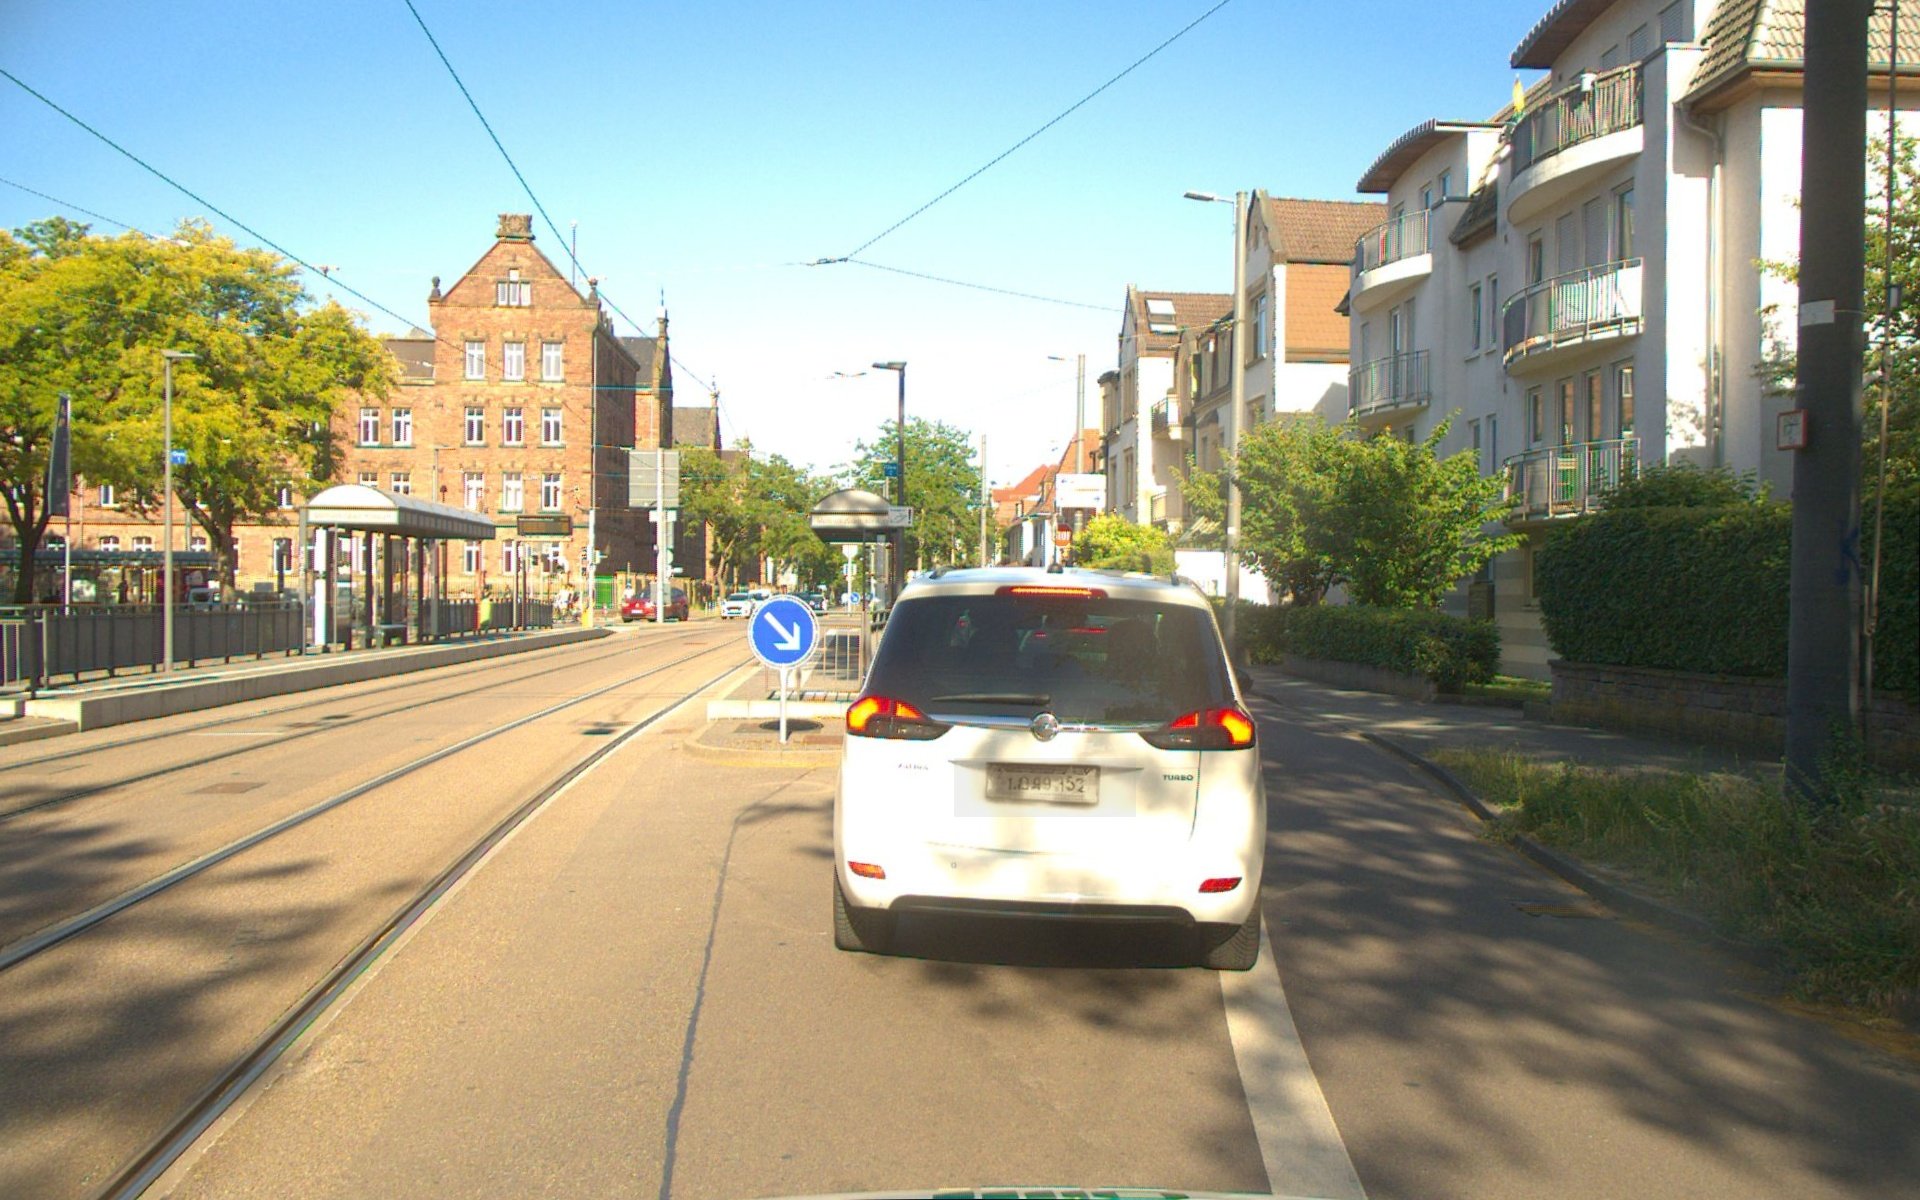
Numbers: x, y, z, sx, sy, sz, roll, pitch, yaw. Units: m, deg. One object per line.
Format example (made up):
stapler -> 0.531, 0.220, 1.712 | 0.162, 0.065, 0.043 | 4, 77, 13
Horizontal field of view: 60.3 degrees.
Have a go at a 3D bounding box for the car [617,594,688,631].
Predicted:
car -> -13.960, 0.549, 75.381 | 1.779, 1.635, 4.363 | 0, 0, 10

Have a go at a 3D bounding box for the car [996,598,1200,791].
car -> 1.227, 0.733, 14.792 | 1.536, 1.426, 3.786 | 2, 0, 5

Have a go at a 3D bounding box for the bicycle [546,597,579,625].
bicycle -> -18.315, 0.516, 76.213 | 0.798, 1.220, 1.954 | -1, -2, 9

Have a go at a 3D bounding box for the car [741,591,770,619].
car -> -13.419, 0.327, 108.727 | 1.792, 1.819, 4.249 | 0, 0, -6

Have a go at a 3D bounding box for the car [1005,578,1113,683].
car -> 1.685, 0.492, 29.188 | 1.563, 1.663, 3.900 | 2, 0, -1

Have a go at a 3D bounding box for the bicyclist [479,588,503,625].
bicyclist -> -19.093, 0.256, 67.343 | 0.639, 1.485, 1.152 | 0, 0, -1

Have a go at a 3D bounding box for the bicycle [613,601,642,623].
bicycle -> -16.866, 0.610, 84.023 | 0.655, 1.091, 2.017 | 1, 1, 13

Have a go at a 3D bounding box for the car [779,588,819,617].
car -> -9.379, 0.148, 96.803 | 1.953, 1.624, 4.000 | 0, 0, 0

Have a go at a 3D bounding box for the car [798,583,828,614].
car -> -9.997, -0.084, 112.754 | 1.954, 2.049, 3.996 | 0, 0, -5

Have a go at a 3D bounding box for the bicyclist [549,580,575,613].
bicyclist -> -18.320, -0.163, 76.172 | 0.740, 1.496, 1.191 | 0, -1, 8

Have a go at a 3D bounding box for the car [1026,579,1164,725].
car -> 1.714, 0.590, 21.051 | 1.536, 1.643, 3.786 | 2, 0, 5

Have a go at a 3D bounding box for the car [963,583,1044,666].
car -> 0.907, 0.492, 36.293 | 1.563, 1.663, 3.901 | 2, 1, -1

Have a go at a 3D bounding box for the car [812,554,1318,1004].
car -> 0.540, 0.642, 8.091 | 1.838, 1.613, 4.002 | 1, 0, 5

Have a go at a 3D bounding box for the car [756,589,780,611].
car -> -14.774, 0.030, 127.442 | 1.792, 1.645, 4.321 | 1, -1, -6

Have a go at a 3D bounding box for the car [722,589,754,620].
car -> -13.424, 0.281, 100.203 | 1.664, 1.841, 3.997 | 0, 0, -4
